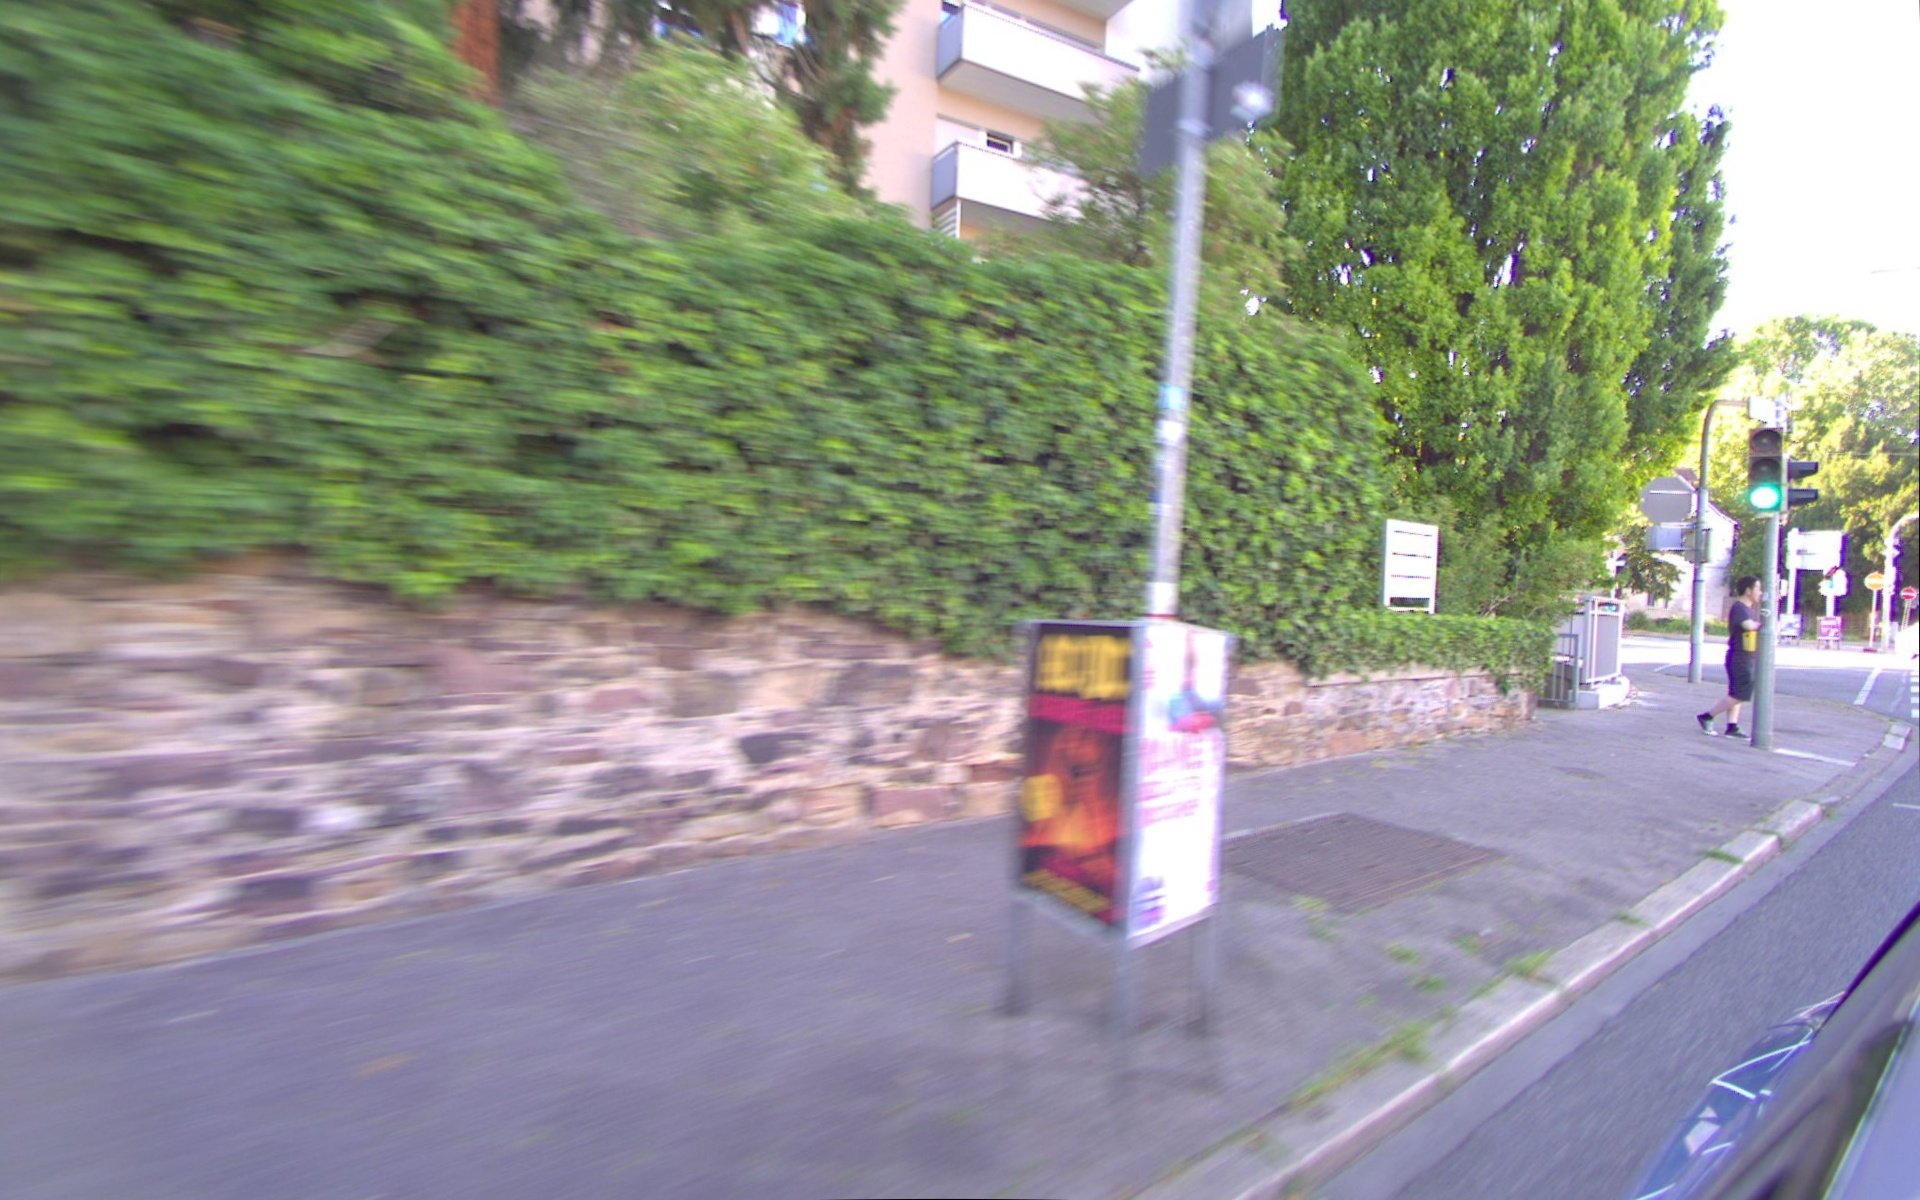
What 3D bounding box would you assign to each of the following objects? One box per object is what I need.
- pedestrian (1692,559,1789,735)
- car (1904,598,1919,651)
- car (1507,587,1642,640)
[{"bbox_3d":[7.958,0.456,10.318,0.601,1.714,0.603,2,1,-41],"label":"pedestrian"},{"bbox_3d":[28.955,0.739,28.317,1.752,1.562,3.989,1,0,9],"label":"car"},{"bbox_3d":[21.467,0.410,35.637,1.963,1.691,4.662,-1,1,2],"label":"car"}]
